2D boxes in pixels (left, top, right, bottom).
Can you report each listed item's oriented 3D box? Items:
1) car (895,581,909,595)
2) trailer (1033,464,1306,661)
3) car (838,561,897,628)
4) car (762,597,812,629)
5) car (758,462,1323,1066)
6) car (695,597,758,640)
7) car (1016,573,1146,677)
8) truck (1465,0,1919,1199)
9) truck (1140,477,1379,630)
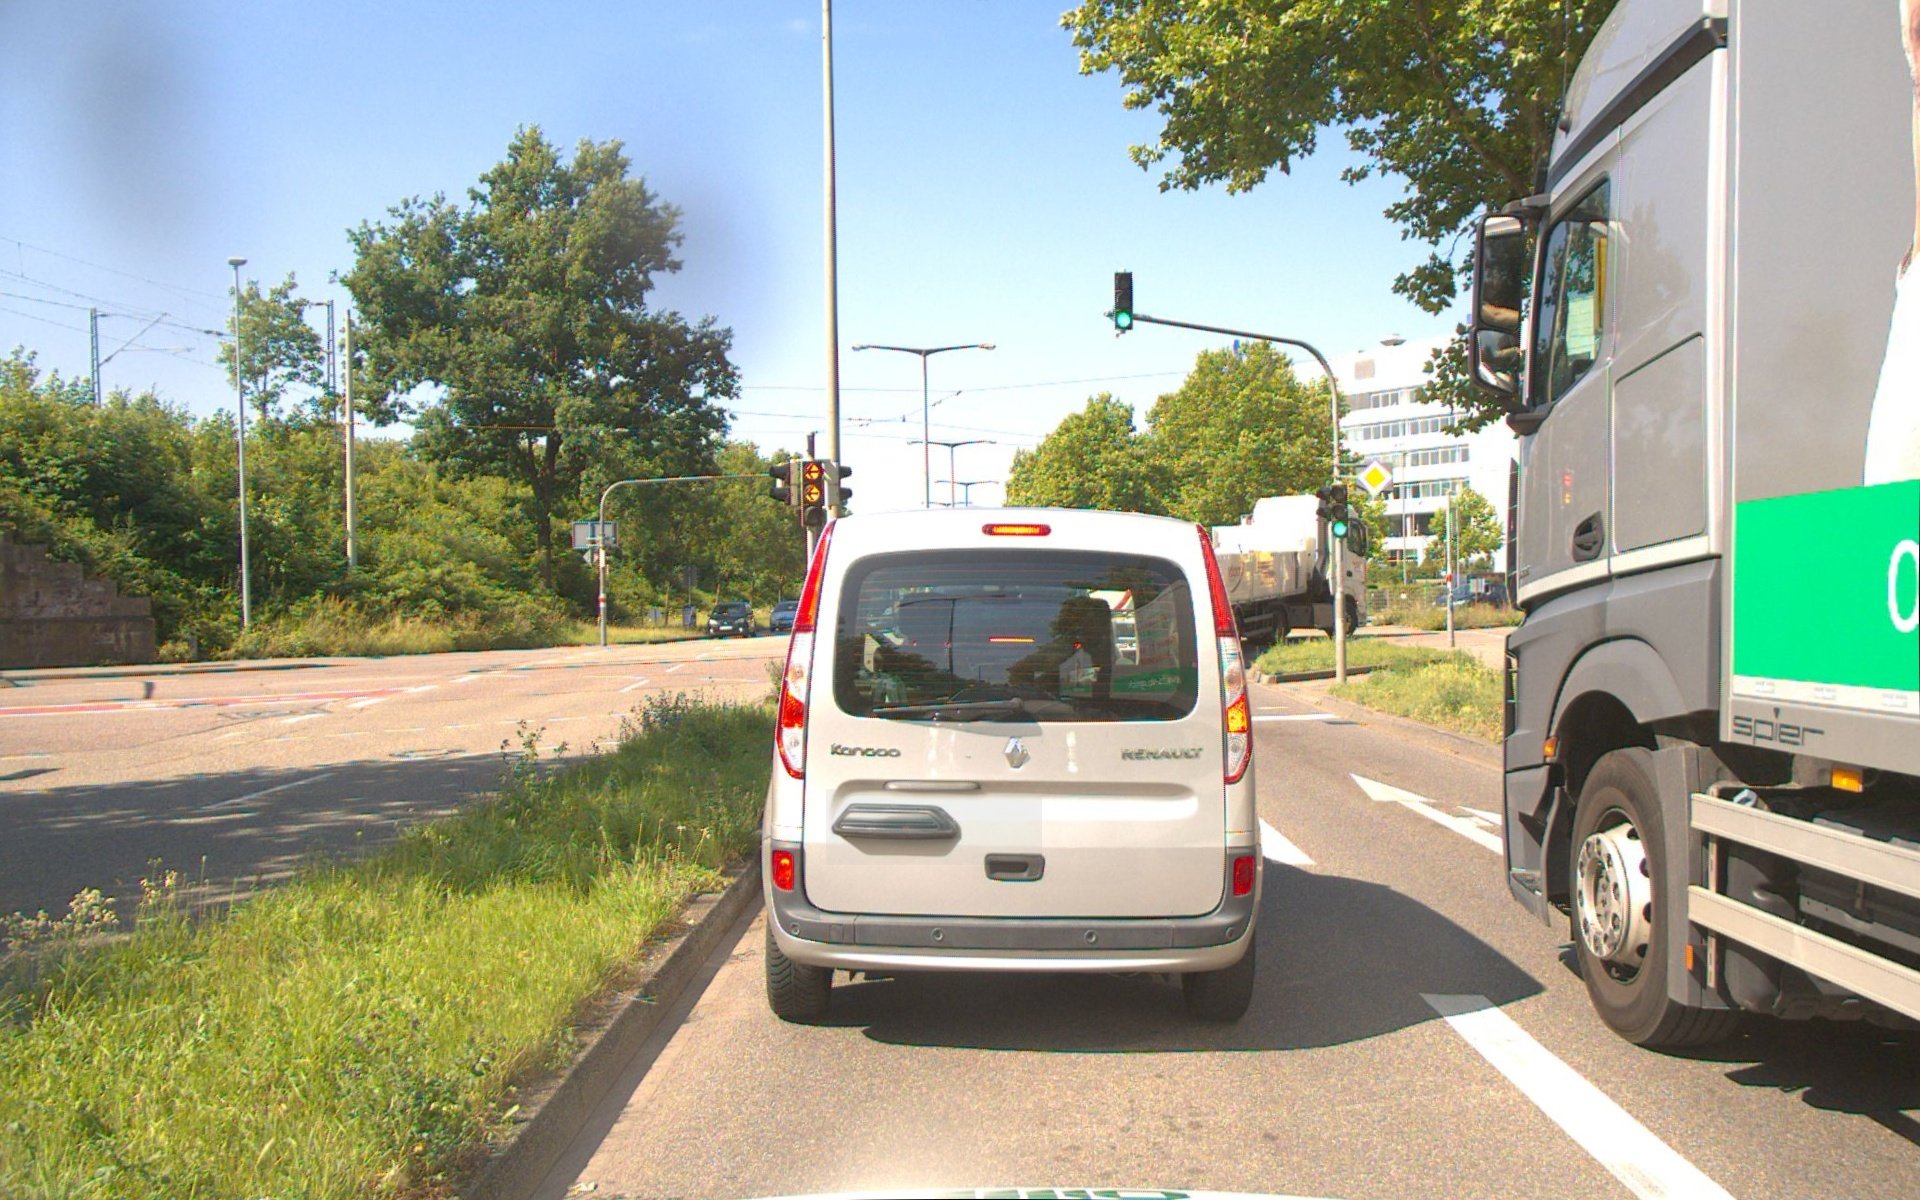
[{"bbox_3d":[-8.742,-1.742,249.912,1.849,2.049,4.001,1,0,1],"label":"car"},{"bbox_3d":[5.155,-0.656,37.294,2.841,3.686,12.682,1,0,22],"label":"trailer"},{"bbox_3d":[-3.836,-0.206,69.617,1.952,2.653,5.135,-1,0,2],"label":"car"},{"bbox_3d":[-8.782,0.649,84.291,1.952,1.567,4.237,-1,0,2],"label":"car"},{"bbox_3d":[0.230,0.525,7.200,1.750,1.870,3.999,1,0,-1],"label":"car"},{"bbox_3d":[-9.471,0.752,67.424,1.872,1.670,3.738,-1,0,2],"label":"car"},{"bbox_3d":[1.996,0.407,28.426,1.837,1.619,4.432,1,0,-1],"label":"car"},{"bbox_3d":[3.415,-0.561,2.773,2.673,3.958,8.724,0,0,2],"label":"truck"},{"bbox_3d":[8.033,-1.097,43.715,2.868,3.707,7.145,1,-1,42],"label":"truck"}]
